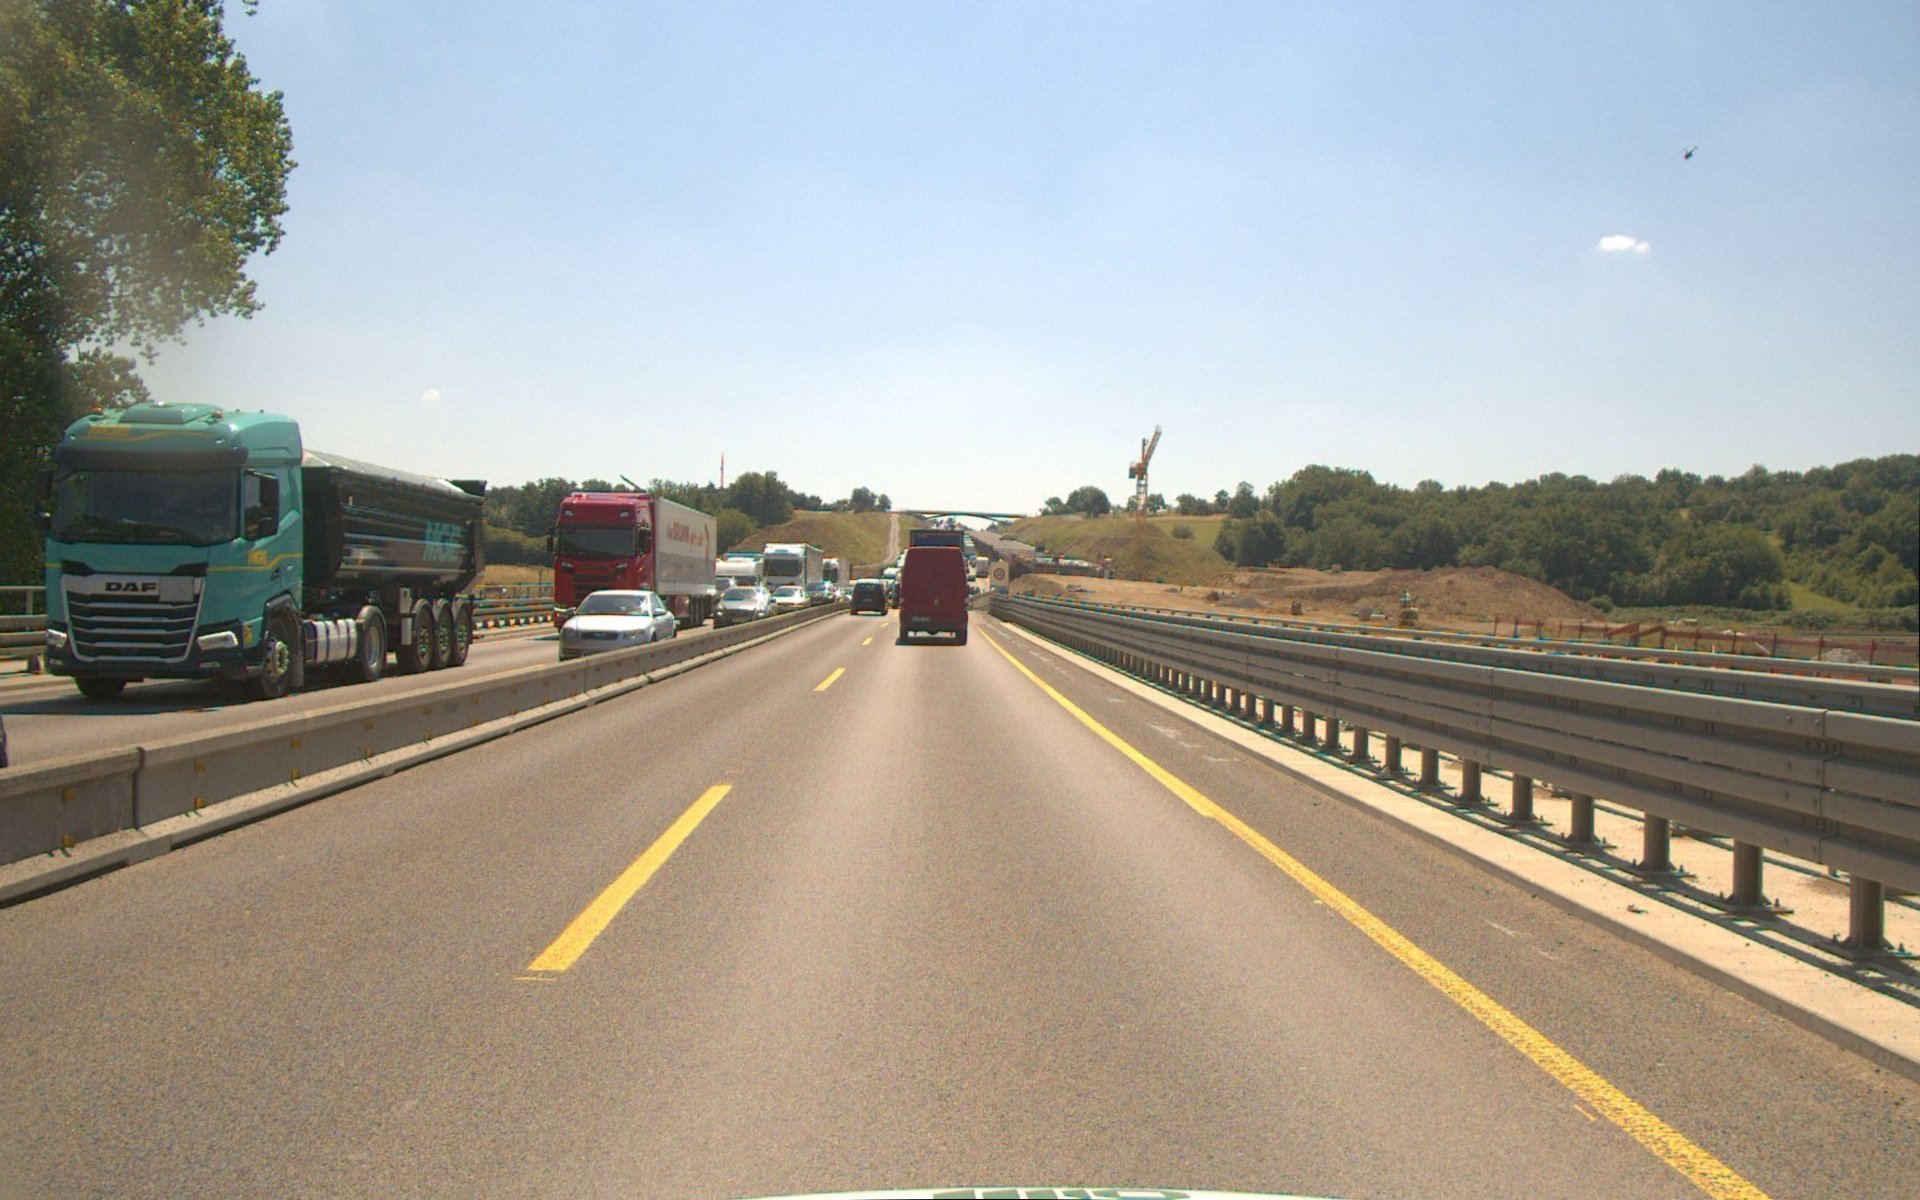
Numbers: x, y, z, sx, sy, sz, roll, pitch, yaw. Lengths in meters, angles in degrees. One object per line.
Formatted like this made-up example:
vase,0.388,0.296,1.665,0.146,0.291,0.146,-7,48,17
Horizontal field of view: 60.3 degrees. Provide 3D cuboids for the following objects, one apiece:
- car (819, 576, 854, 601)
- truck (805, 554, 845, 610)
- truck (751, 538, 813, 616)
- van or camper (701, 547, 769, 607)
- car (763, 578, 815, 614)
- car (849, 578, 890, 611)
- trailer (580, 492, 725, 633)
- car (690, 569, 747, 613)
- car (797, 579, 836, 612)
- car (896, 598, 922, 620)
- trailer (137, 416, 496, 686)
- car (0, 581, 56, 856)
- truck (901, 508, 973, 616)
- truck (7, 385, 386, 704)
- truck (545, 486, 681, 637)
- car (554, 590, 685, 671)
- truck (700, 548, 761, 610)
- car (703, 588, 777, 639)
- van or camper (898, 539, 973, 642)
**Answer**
car,-7.601,-0.730,102.013,1.741,1.445,4.537,2,1,0
truck,-11.015,-1.508,135.658,2.749,4.469,6.224,1,1,0
truck,-10.946,-1.390,102.565,3.015,4.616,7.102,1,0,0
van or camper,-10.619,-1.072,78.446,2.452,2.745,5.243,1,1,0
car,-7.685,-0.209,74.517,1.862,1.487,4.194,2,2,0
car,-4.522,-0.277,83.365,1.971,1.572,4.130,1,0,-2
trailer,-10.209,-1.260,56.318,2.749,4.249,11.798,1,1,0
car,-10.404,-0.393,71.589,1.732,1.764,4.790,2,1,-1
car,-7.672,-0.238,88.757,1.810,1.717,4.617,1,0,-1
car,-3.940,0.698,128.721,1.971,1.572,4.131,2,1,-2
trailer,-10.246,-0.701,27.594,2.738,3.736,8.953,1,0,-2
car,-5.765,0.643,7.077,1.598,1.433,4.102,-1,1,-1
truck,-1.177,-1.788,79.718,2.961,4.774,6.929,4,0,-3
truck,-10.081,-0.667,22.526,2.740,3.787,5.372,1,0,-2
truck,-10.089,-1.122,48.720,2.759,4.107,6.520,1,1,-2
car,-6.543,0.534,32.213,1.745,1.404,4.709,-1,1,-2
truck,-14.955,-1.384,108.510,2.845,3.830,8.366,2,1,-1
car,-7.231,0.415,54.794,1.852,1.513,4.918,3,0,-2
van or camper,-0.758,-0.280,47.603,1.988,2.792,4.513,1,0,-3
